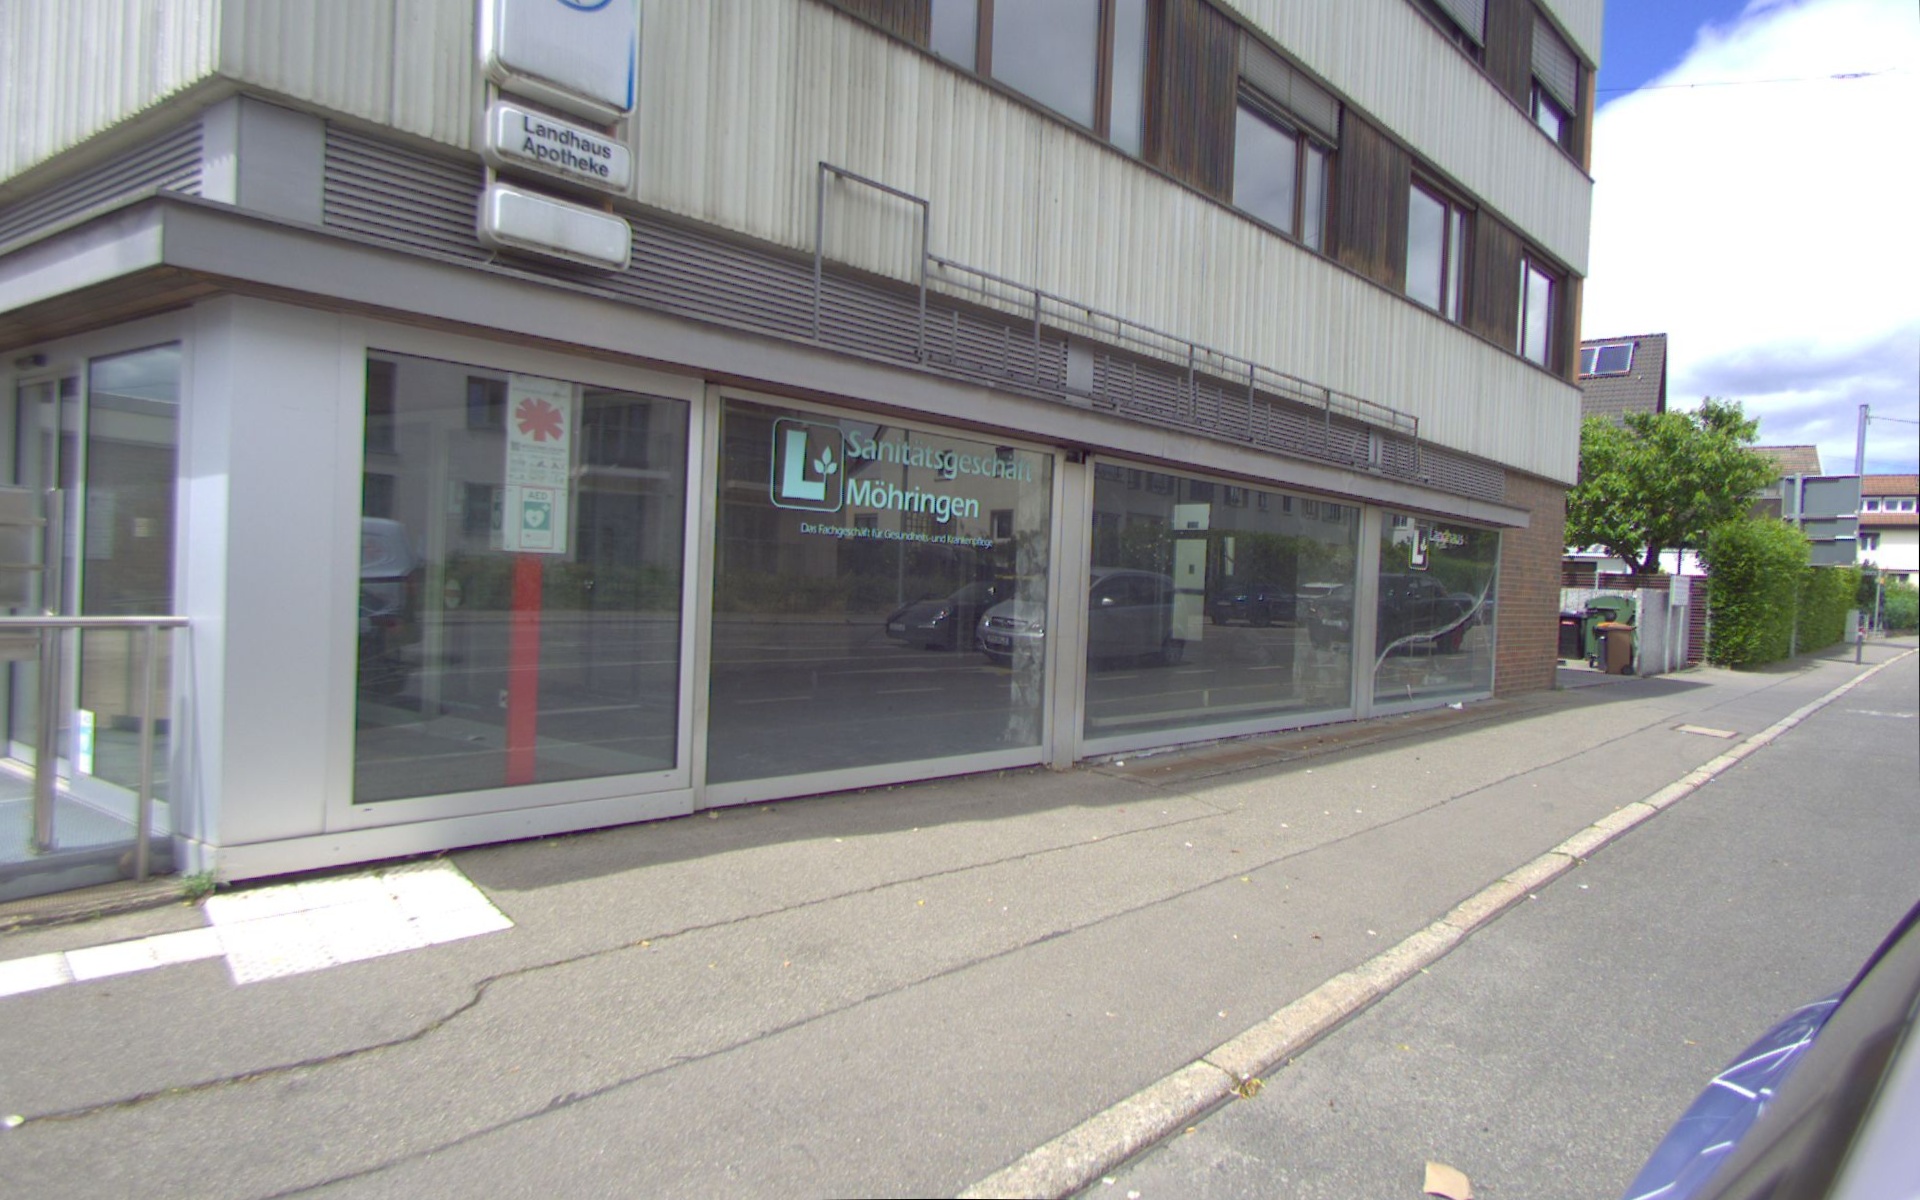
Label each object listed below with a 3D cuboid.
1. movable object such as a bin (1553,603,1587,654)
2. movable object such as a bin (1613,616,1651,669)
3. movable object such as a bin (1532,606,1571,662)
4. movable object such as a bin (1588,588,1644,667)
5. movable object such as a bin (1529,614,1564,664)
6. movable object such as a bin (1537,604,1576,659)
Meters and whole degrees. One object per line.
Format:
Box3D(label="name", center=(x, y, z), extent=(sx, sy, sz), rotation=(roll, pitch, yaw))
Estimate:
Box3D(label="movable object such as a bin", center=(13.418, 0.622, 22.263), extent=(0.590, 1.088, 0.484), rotation=(2, 1, 28))
Box3D(label="movable object such as a bin", center=(12.443, 0.778, 18.739), extent=(0.514, 0.933, 0.474), rotation=(2, 1, 28))
Box3D(label="movable object such as a bin", center=(11.802, 0.670, 20.205), extent=(0.589, 1.088, 0.485), rotation=(2, 1, 22))
Box3D(label="movable object such as a bin", center=(12.725, 0.522, 19.637), extent=(0.807, 1.473, 0.472), rotation=(2, 1, 43))
Box3D(label="movable object such as a bin", center=(11.452, 0.752, 19.763), extent=(0.512, 0.933, 0.475), rotation=(2, 1, 22))
Box3D(label="movable object such as a bin", center=(12.215, 0.633, 20.741), extent=(0.589, 1.088, 0.485), rotation=(2, 1, 22))
